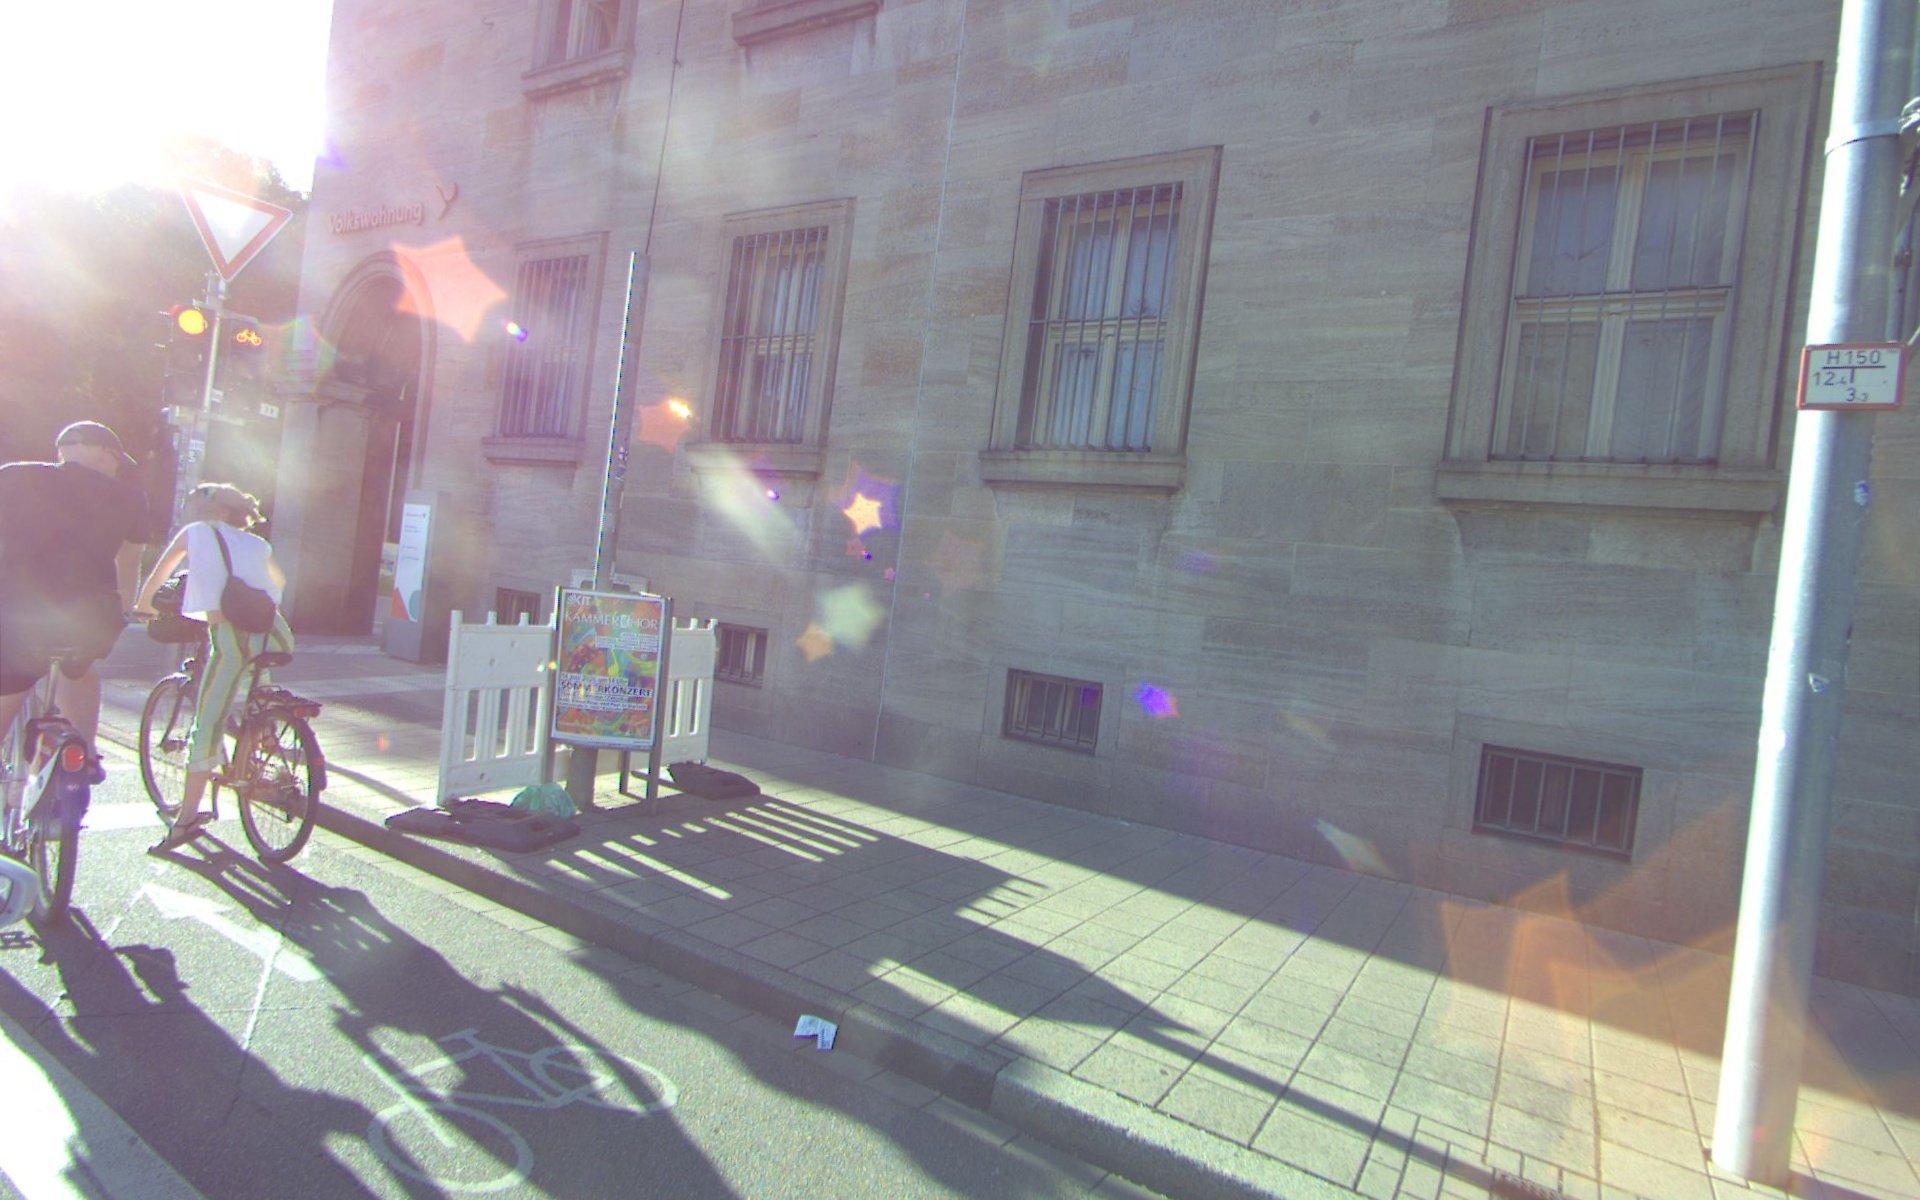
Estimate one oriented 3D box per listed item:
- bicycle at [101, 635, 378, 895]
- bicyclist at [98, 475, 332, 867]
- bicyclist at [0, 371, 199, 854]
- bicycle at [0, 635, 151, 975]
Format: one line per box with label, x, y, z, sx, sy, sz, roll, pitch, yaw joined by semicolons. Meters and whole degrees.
bicycle;-3.608;0.733;4.965;1.920;0.887;0.427;7;0;35
bicyclist;-3.587;0.304;4.836;0.845;1.700;0.522;7;1;35
bicyclist;-3.507;0.045;3.873;0.647;1.698;0.669;7;1;41
bicycle;-3.734;0.697;4.002;1.923;0.916;0.388;7;0;41
